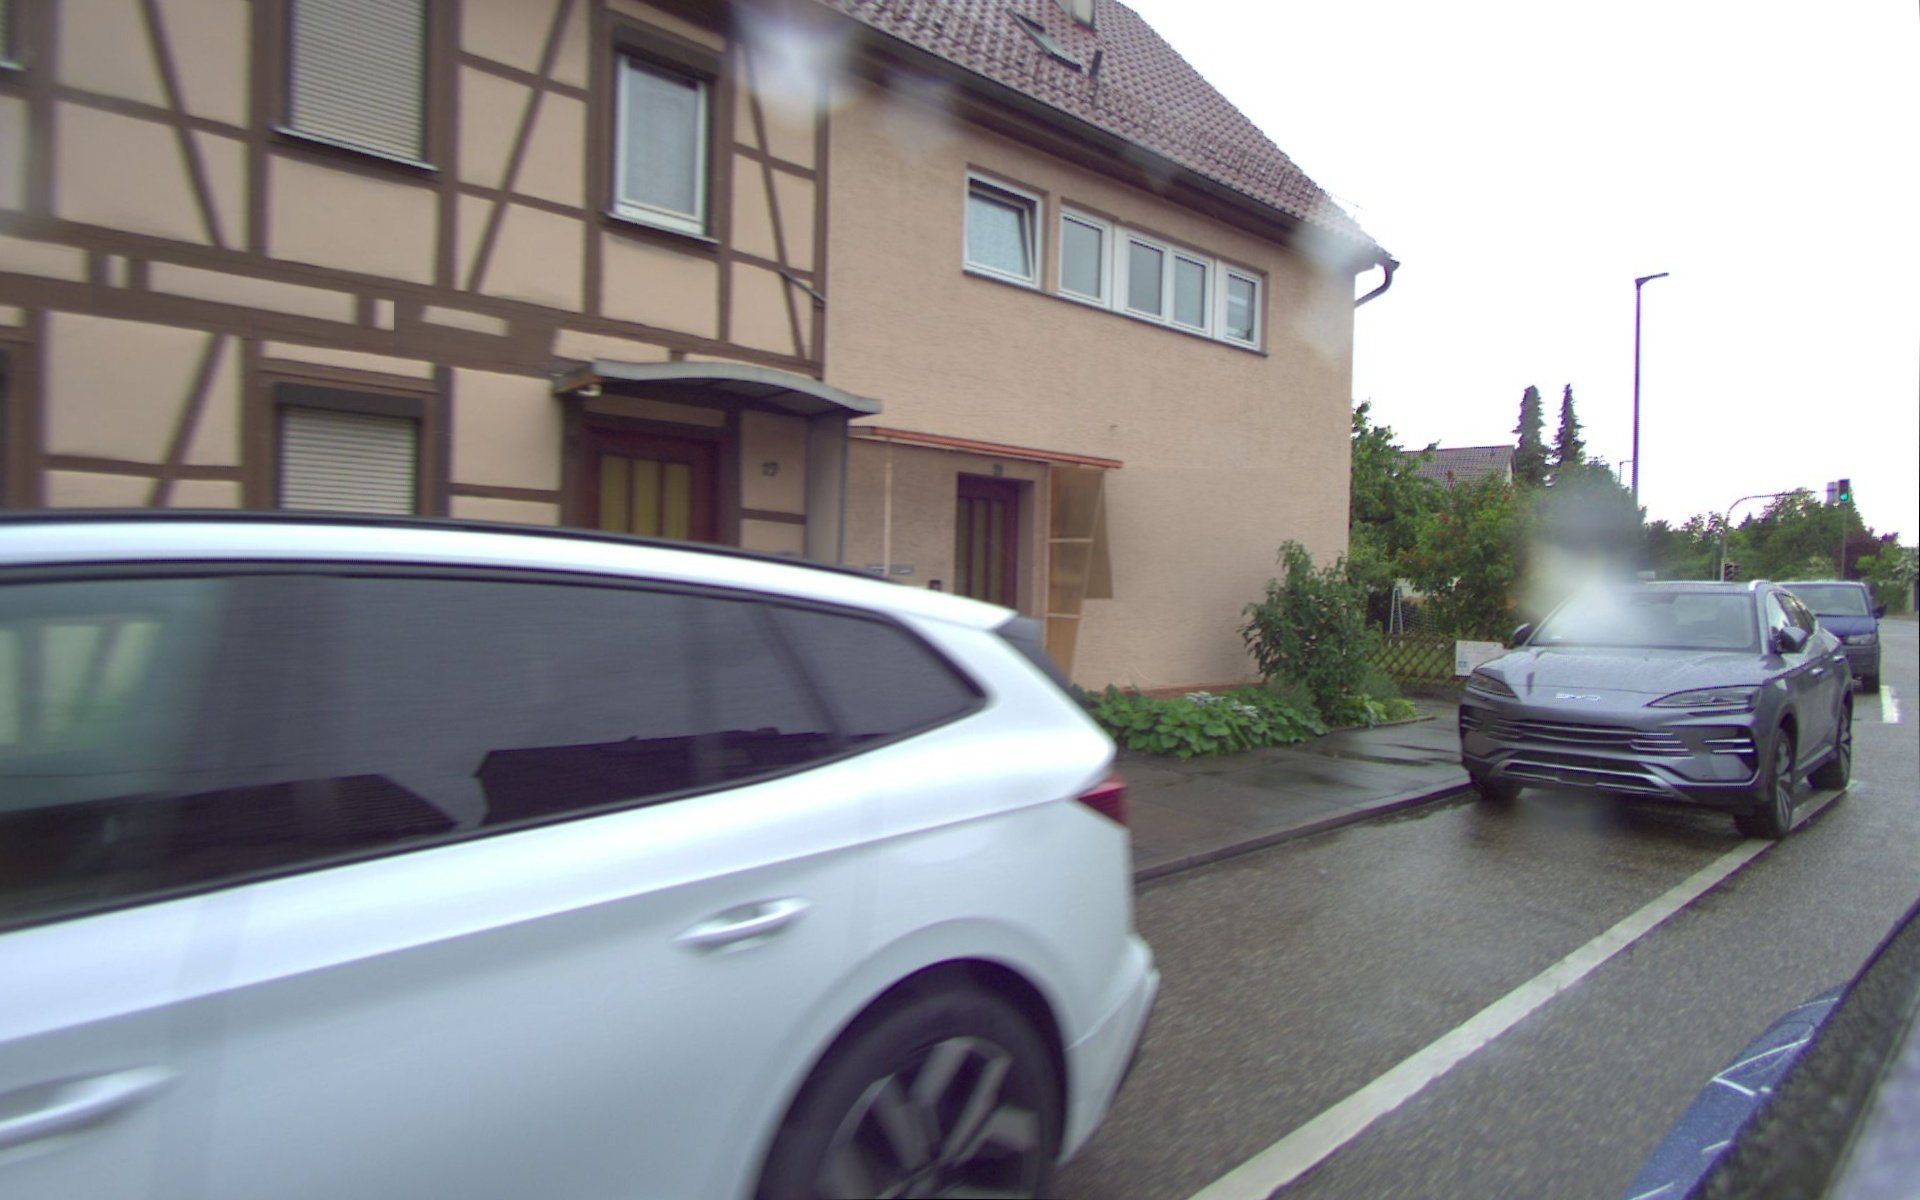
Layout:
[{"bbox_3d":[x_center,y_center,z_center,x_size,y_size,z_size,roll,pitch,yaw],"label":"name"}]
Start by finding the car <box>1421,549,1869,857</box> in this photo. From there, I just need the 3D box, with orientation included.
[{"bbox_3d":[5.558,0.587,7.954,4.478,1.739,1.911,0,-1,-42],"label":"car"}]

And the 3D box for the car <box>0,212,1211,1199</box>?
[{"bbox_3d":[-1.659,0.417,1.591,4.533,1.615,1.805,-1,0,-43],"label":"car"}]

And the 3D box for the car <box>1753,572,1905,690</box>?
[{"bbox_3d":[16.208,0.500,18.980,1.928,1.926,4.724,-1,0,40],"label":"car"}]
